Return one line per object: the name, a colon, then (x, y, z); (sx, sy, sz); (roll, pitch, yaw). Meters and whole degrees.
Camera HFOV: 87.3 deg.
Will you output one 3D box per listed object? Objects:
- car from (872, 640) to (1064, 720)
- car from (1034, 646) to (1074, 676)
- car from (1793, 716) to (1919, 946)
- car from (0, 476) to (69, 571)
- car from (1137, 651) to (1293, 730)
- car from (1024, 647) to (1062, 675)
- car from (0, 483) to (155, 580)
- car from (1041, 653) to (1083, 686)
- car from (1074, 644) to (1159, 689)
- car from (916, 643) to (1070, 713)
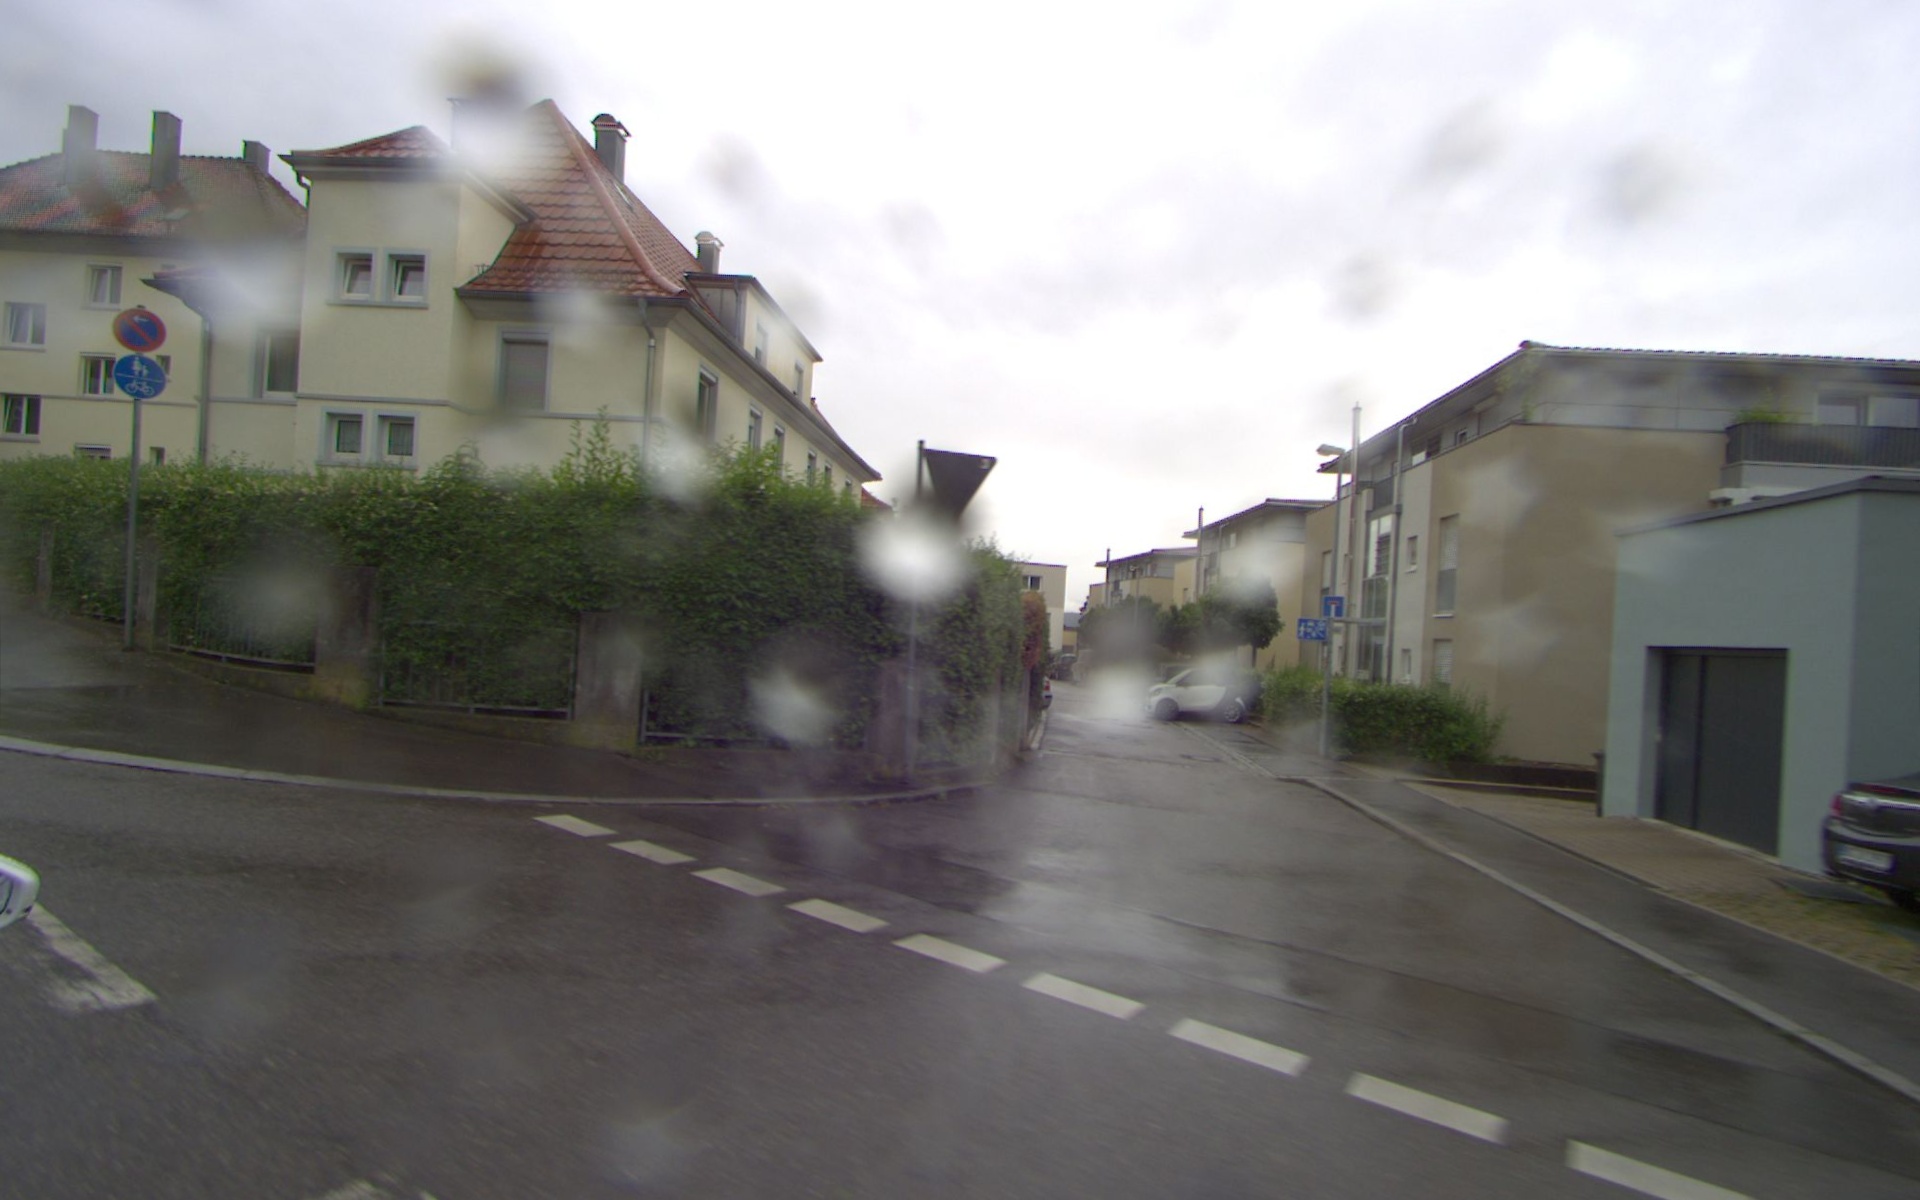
car: (0.180, 1.881, 23.673); (3.948, 1.436, 1.991); (7, -4, -24)
car: (6.446, 4.187, 69.208); (1.755, 1.811, 4.383); (6, -3, -5)
car: (8.261, 1.803, 7.290); (2.934, 1.556, 1.609); (5, -3, 11)
car: (-23.235, -1.975, 22.796); (1.962, 2.036, 4.007); (5, -3, 12)
car: (7.437, 2.631, 29.614); (3.926, 1.858, 2.002); (6, -3, -2)
car: (6.143, 4.525, 74.923); (1.756, 1.811, 4.381); (6, -3, -8)
car: (-20.931, -1.582, 22.568); (1.962, 1.702, 4.007); (5, -4, 12)
car: (6.365, 4.300, 62.961); (1.754, 1.811, 4.384); (6, -3, -3)
car: (8.100, 3.447, 52.210); (3.926, 1.858, 2.002); (6, -3, -2)
car: (0.964, 2.295, 29.662); (3.948, 1.591, 1.991); (7, -3, -24)
